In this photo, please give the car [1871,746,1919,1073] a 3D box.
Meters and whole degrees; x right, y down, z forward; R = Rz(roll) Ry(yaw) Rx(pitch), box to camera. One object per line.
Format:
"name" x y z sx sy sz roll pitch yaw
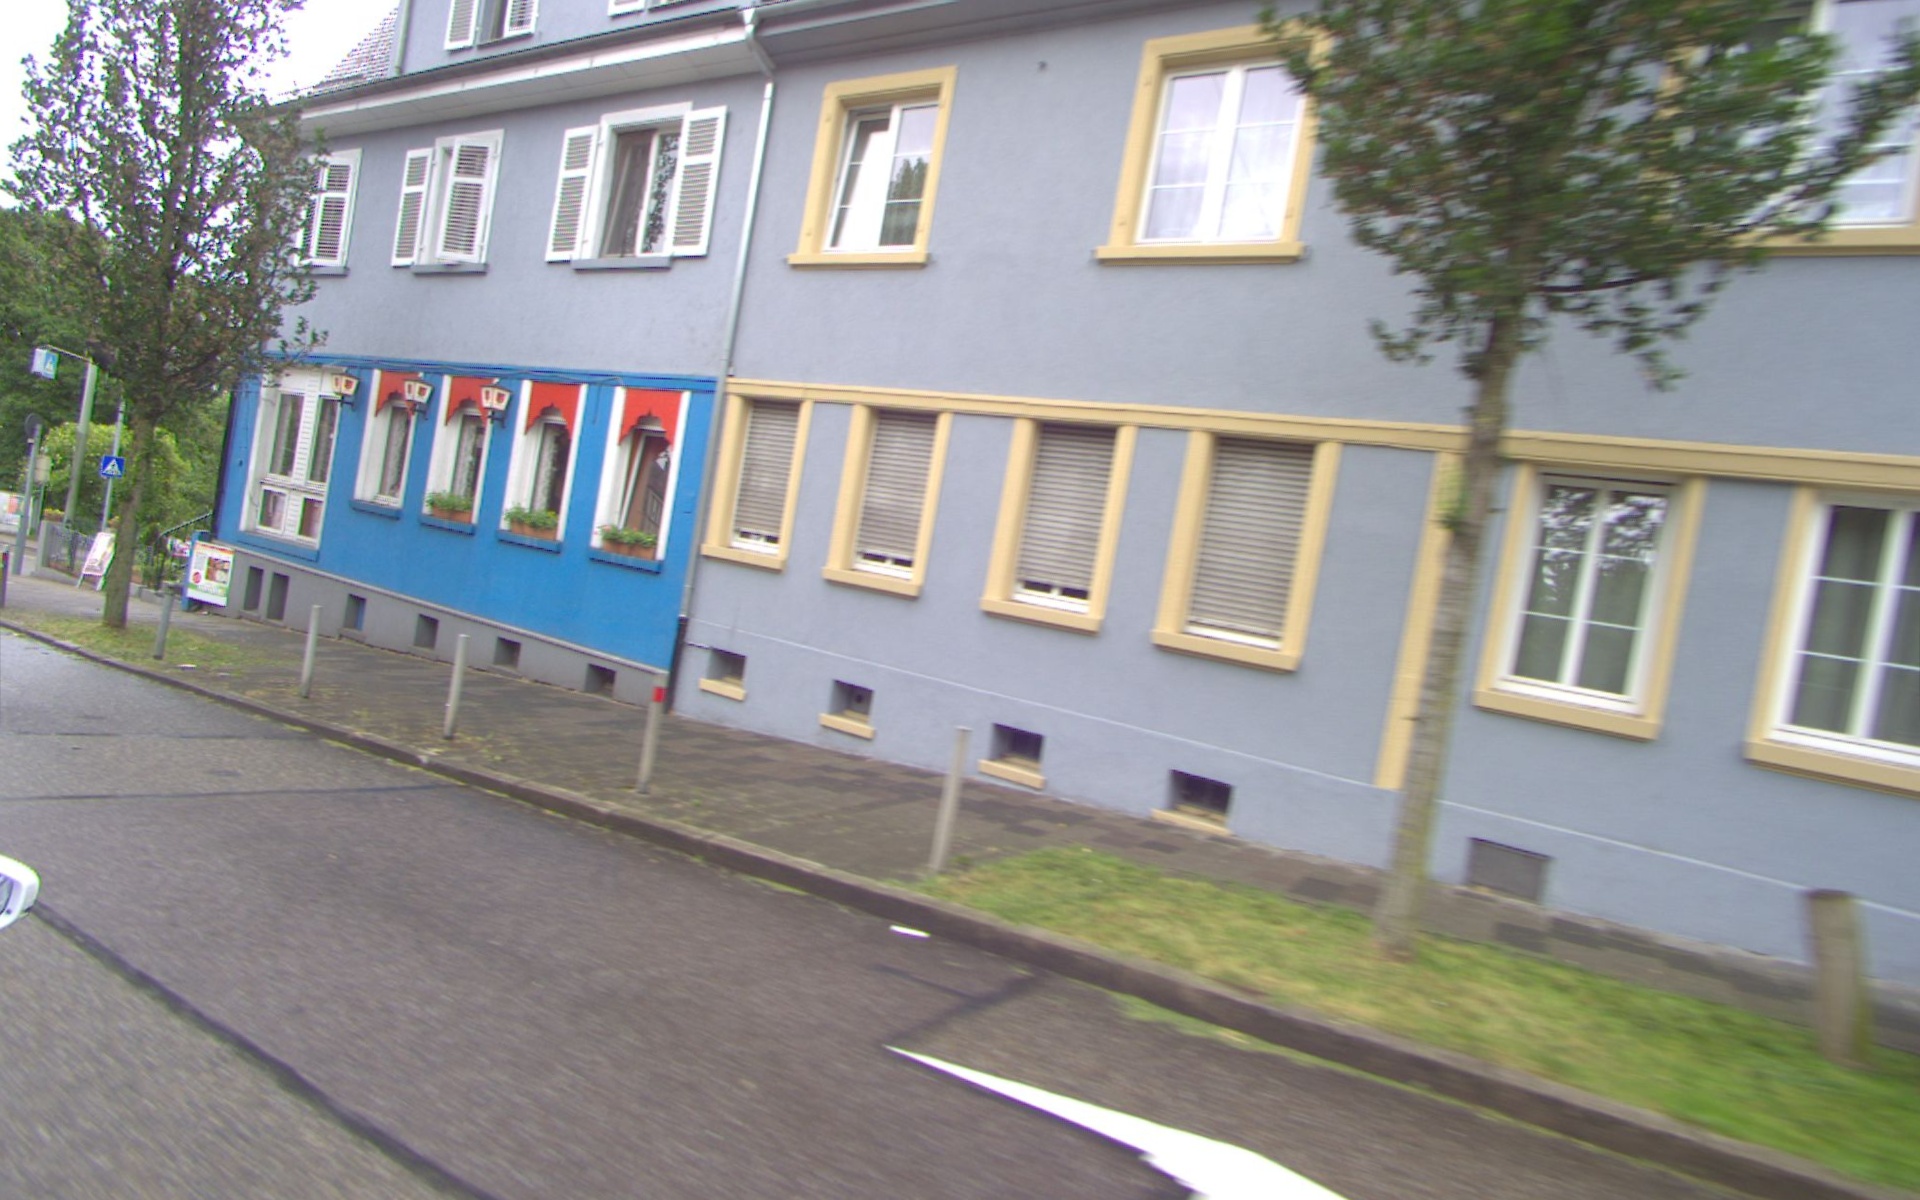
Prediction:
"car" 5.785 1.574 3.533 3.396 1.429 1.589 7 1 28
